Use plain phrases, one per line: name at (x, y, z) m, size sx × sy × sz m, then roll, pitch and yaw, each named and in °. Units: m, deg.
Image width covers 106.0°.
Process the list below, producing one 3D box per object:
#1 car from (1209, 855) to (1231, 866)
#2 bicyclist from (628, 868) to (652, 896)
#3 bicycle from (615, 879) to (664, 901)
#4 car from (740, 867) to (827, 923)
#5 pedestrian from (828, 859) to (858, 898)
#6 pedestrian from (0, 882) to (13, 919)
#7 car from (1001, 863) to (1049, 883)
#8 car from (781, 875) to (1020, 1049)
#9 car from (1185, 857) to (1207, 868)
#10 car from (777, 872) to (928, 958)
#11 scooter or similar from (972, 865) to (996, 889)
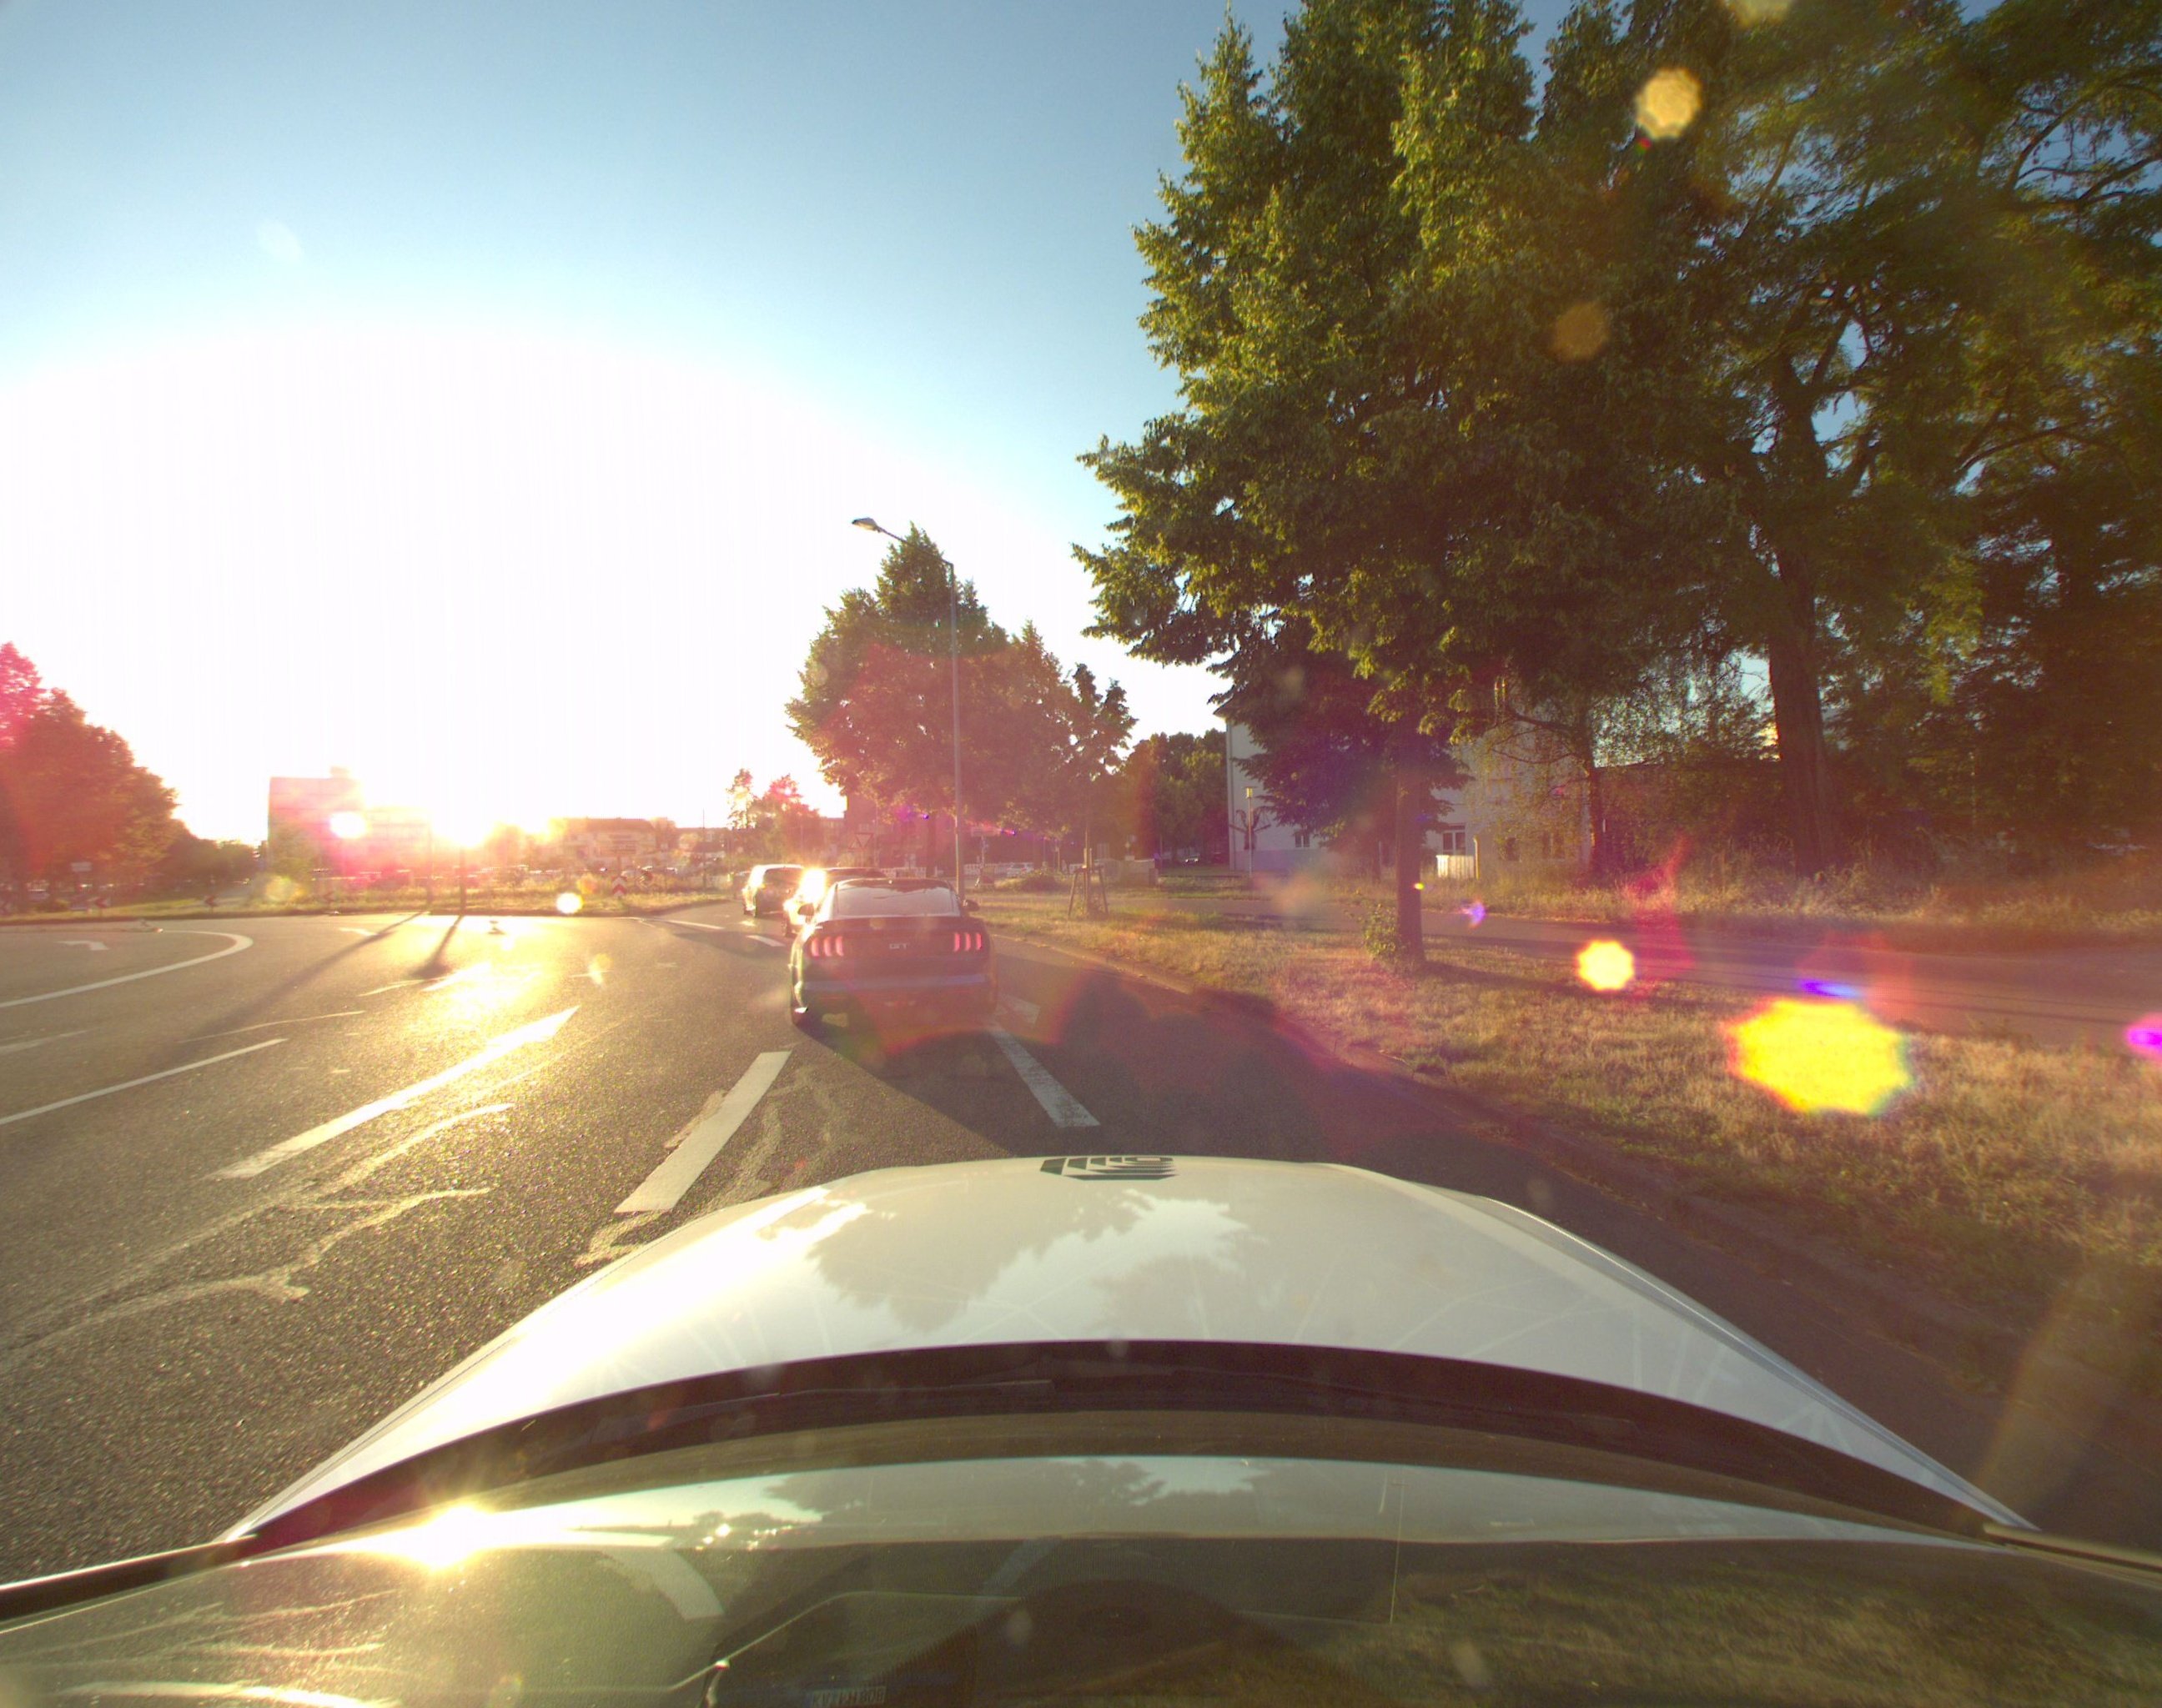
car at (19.084, 0.849, 111.568) m, size 1.858 × 1.401 × 3.940 m, roll -2°, pitch 0°, yaw 27°
bicyclist at (-25.860, 1.627, 47.757) m, size 0.745 × 1.612 × 0.984 m, roll -2°, pitch -1°, yaw 42°
bicycle at (-25.869, 2.080, 47.764) m, size 0.745 × 1.167 × 2.424 m, roll -2°, pitch -1°, yaw 42°
car at (-9.508, 1.222, 25.844) m, size 1.963 × 1.602 × 4.039 m, roll 0°, pitch -1°, yaw -29°
pedestrian at (-10.415, 1.070, 35.629) m, size 0.876 × 1.686 × 0.851 m, roll -2°, pitch 0°, yaw 26°
pedestrian at (-53.799, 2.313, 40.078) m, size 1.163 × 1.827 × 0.972 m, roll -1°, pitch -1°, yaw -24°
car at (-4.319, 1.490, 63.000) m, size 1.858 × 1.401 × 3.940 m, roll -2°, pitch 0°, yaw 28°
car at (-2.167, 0.946, 9.098) m, size 1.956 × 1.342 × 4.643 m, roll 1°, pitch -1°, yaw -17°
car at (15.831, 1.175, 111.932) m, size 1.858 × 1.401 × 3.940 m, roll -2°, pitch 0°, yaw 27°
car at (-4.640, 1.068, 16.056) m, size 1.962 × 1.427 × 4.389 m, roll 1°, pitch -1°, yaw -28°
scooter or similar at (-5.005, 1.191, 42.133) m, size 1.126 × 1.238 × 0.438 m, roll -1°, pitch -1°, yaw -27°
